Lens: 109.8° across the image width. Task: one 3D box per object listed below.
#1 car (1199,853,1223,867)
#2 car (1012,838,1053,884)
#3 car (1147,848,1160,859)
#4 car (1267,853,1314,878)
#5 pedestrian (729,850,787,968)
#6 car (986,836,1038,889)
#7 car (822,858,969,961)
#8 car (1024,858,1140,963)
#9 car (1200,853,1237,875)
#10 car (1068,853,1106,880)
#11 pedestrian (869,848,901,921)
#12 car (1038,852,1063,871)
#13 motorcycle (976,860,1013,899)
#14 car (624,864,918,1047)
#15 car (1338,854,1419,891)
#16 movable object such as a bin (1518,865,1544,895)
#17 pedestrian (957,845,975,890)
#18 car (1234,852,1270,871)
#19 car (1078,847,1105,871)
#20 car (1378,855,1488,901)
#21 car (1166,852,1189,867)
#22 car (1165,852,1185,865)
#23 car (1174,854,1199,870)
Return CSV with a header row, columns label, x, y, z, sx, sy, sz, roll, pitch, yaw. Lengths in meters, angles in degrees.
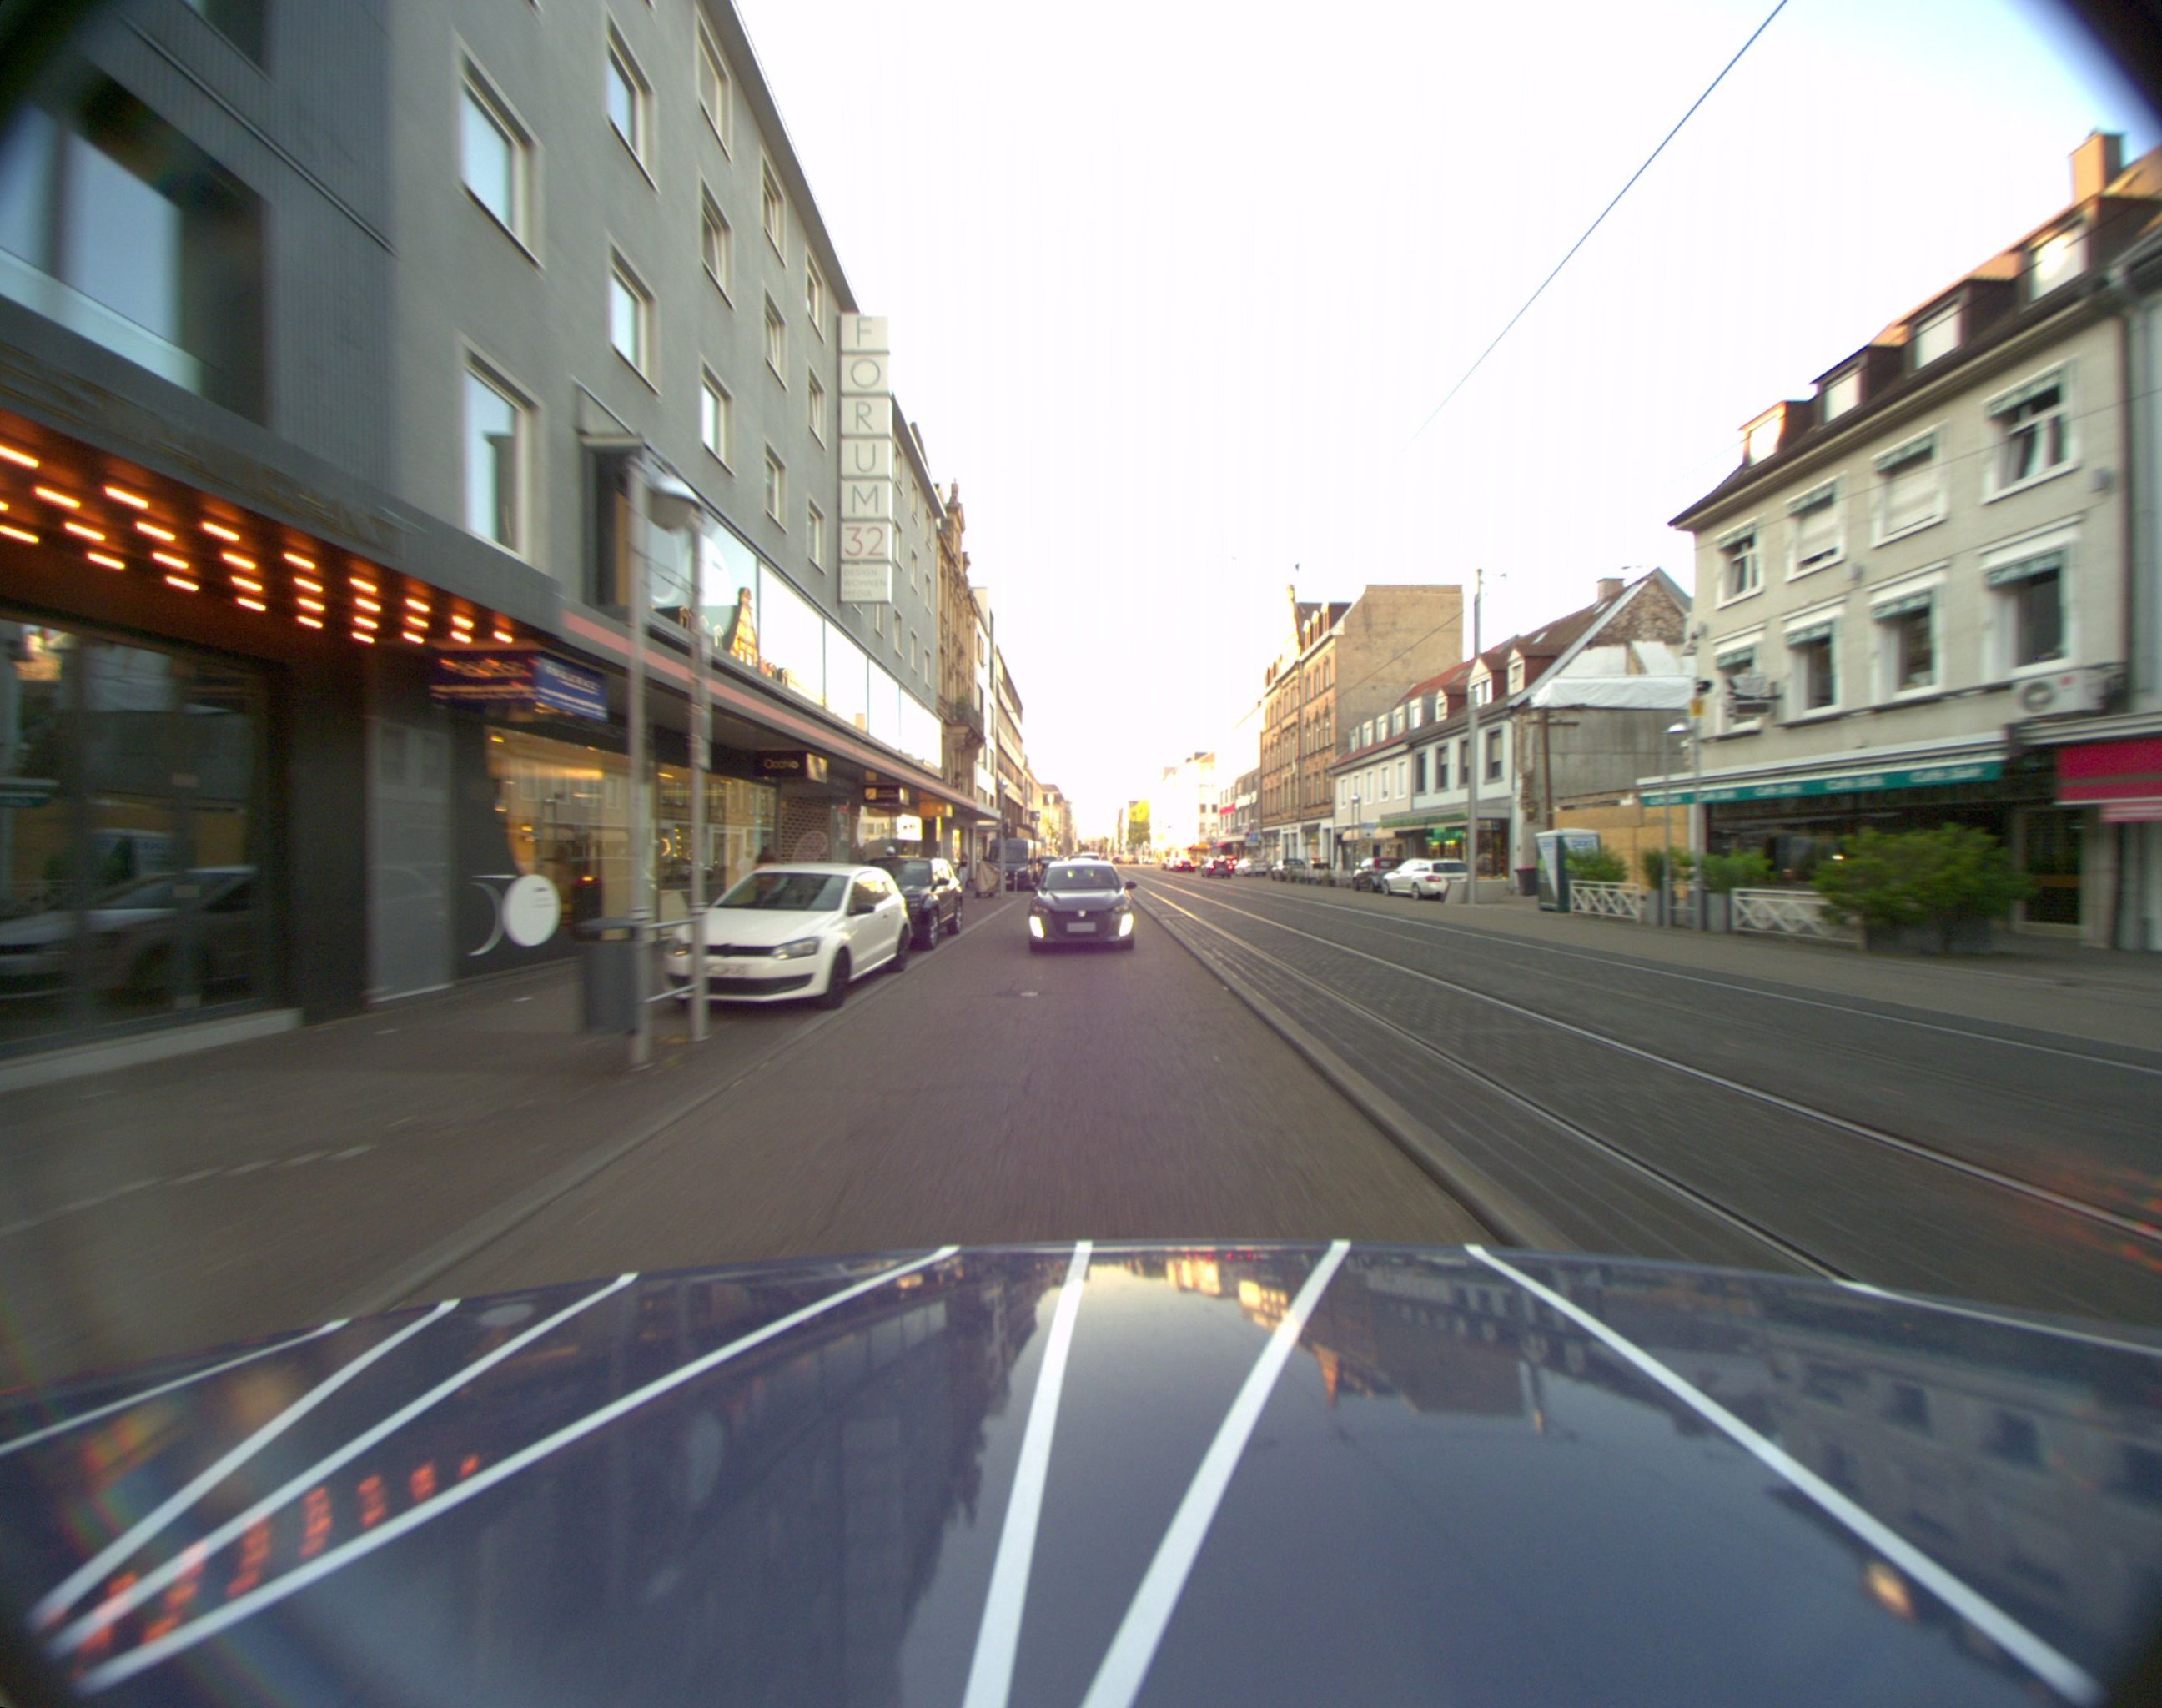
label,x,y,z,sx,sy,sz,roll,pitch,yaw
car,14.056,0.631,82.481,1.998,1.543,4.000,0,0,0
car,-2.629,0.371,42.540,1.999,2.390,5.563,0,0,-1
car,13.780,-0.136,144.763,1.998,2.024,4.000,0,0,0
car,13.583,0.722,49.458,1.998,1.543,4.000,0,0,0
pedestrian,-4.856,0.805,11.460,0.610,1.743,0.605,0,1,0
car,-3.217,0.356,36.508,2.046,2.371,5.584,0,0,-1
car,-3.178,0.876,13.827,1.673,1.565,4.034,0,0,0
car,-0.001,0.879,13.723,1.732,1.513,4.333,-1,0,-1
car,10.140,0.743,56.345,1.998,1.543,4.000,0,0,0
car,0.338,0.655,42.683,1.998,1.450,4.000,0,0,0
pedestrian,-4.764,0.728,18.471,0.610,1.743,0.605,0,1,0
car,-2.562,0.613,65.888,1.999,1.627,5.243,0,0,-1
motorcycle,-3.216,0.923,28.270,0.574,1.369,1.513,0,1,30
car,-3.193,0.927,8.727,1.682,1.534,3.886,1,0,1
car,13.262,0.788,34.194,1.914,1.535,4.552,0,0,0
movable object such as a bin,16.664,0.955,28.159,0.619,1.115,0.615,0,1,4
pedestrian,-5.216,0.600,34.554,0.711,2.002,0.824,0,1,0
car,13.777,0.581,61.539,1.998,1.543,4.206,0,0,0
car,0.803,0.367,61.001,1.999,1.805,3.999,0,0,-1
car,13.199,0.845,28.885,1.998,1.535,4.878,-1,0,1
car,10.553,0.556,83.256,1.998,1.543,4.000,0,0,0
car,11.102,0.496,90.042,1.998,1.543,4.000,0,0,0
car,10.522,0.809,76.033,1.998,1.543,4.000,0,0,0
